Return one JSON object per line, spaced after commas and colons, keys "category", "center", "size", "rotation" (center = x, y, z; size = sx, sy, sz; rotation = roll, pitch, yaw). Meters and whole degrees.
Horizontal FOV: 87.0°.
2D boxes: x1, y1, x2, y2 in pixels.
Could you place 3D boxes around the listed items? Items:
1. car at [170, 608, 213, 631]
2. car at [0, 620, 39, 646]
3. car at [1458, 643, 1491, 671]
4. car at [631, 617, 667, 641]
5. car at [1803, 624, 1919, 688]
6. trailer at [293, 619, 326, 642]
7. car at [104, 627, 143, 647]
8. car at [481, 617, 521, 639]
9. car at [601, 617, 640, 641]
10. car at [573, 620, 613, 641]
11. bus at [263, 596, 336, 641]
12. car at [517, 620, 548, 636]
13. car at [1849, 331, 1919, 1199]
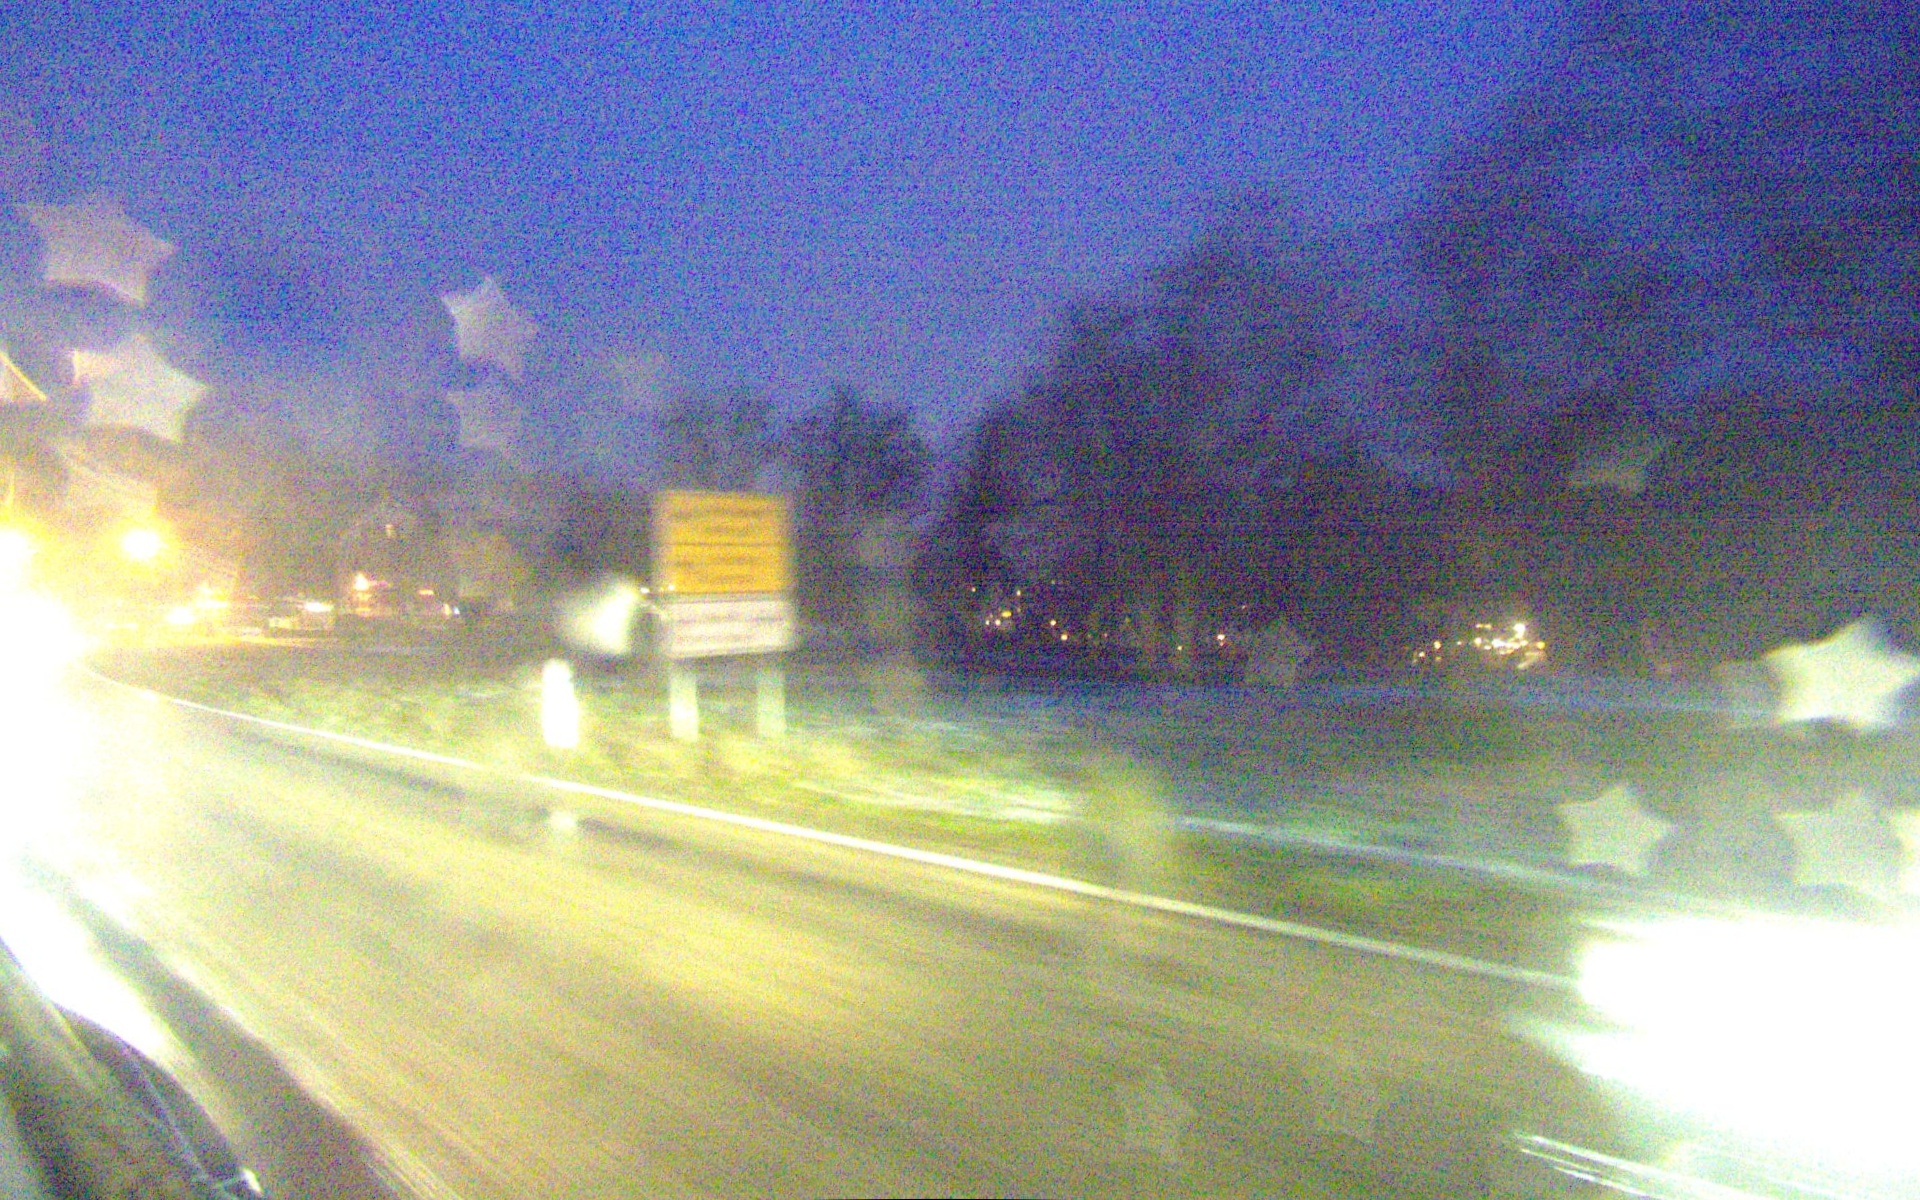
{"category": "car", "center": [-73.377, 1.856, 96.666], "size": [1.965, 2.029, 4.861], "rotation": [-1, 1, -21]}
{"category": "car", "center": [-58.600, 2.028, 62.539], "size": [1.899, 1.521, 4.105], "rotation": [3, -2, -35]}
{"category": "car", "center": [47.490, 5.224, 93.340], "size": [2.298, 2.028, 4.617], "rotation": [2, 2, 32]}
{"category": "car", "center": [-30.476, 2.817, 99.185], "size": [4.002, 2.071, 1.739], "rotation": [2, 3, 45]}
{"category": "car", "center": [26.018, 1.527, 27.753], "size": [1.664, 1.700, 4.177], "rotation": [3, -2, -21]}
{"category": "trailer", "center": [-51.218, 2.352, 79.622], "size": [1.789, 1.690, 4.109], "rotation": [4, -3, -37]}
{"category": "car", "center": [-64.318, 2.830, 77.900], "size": [1.613, 1.521, 4.108], "rotation": [2, -2, -30]}
{"category": "car", "center": [-41.016, 2.467, 90.428], "size": [1.914, 1.709, 4.633], "rotation": [-1, 3, -43]}
{"category": "car", "center": [-32.984, 2.791, 98.241], "size": [4.002, 2.071, 1.971], "rotation": [2, 3, 45]}
{"category": "car", "center": [-34.822, 2.881, 95.891], "size": [1.914, 1.709, 4.633], "rotation": [-1, 3, -43]}
{"category": "bus", "center": [-62.045, 1.615, 94.913], "size": [13.063, 3.897, 2.861], "rotation": [1, 1, 44]}
{"category": "car", "center": [-47.326, 3.055, 112.066], "size": [1.834, 1.408, 4.041], "rotation": [4, 2, -2]}
{"category": "car", "center": [3.388, 0.432, 0.748], "size": [3.997, 1.747, 1.736], "rotation": [-2, 0, 40]}
